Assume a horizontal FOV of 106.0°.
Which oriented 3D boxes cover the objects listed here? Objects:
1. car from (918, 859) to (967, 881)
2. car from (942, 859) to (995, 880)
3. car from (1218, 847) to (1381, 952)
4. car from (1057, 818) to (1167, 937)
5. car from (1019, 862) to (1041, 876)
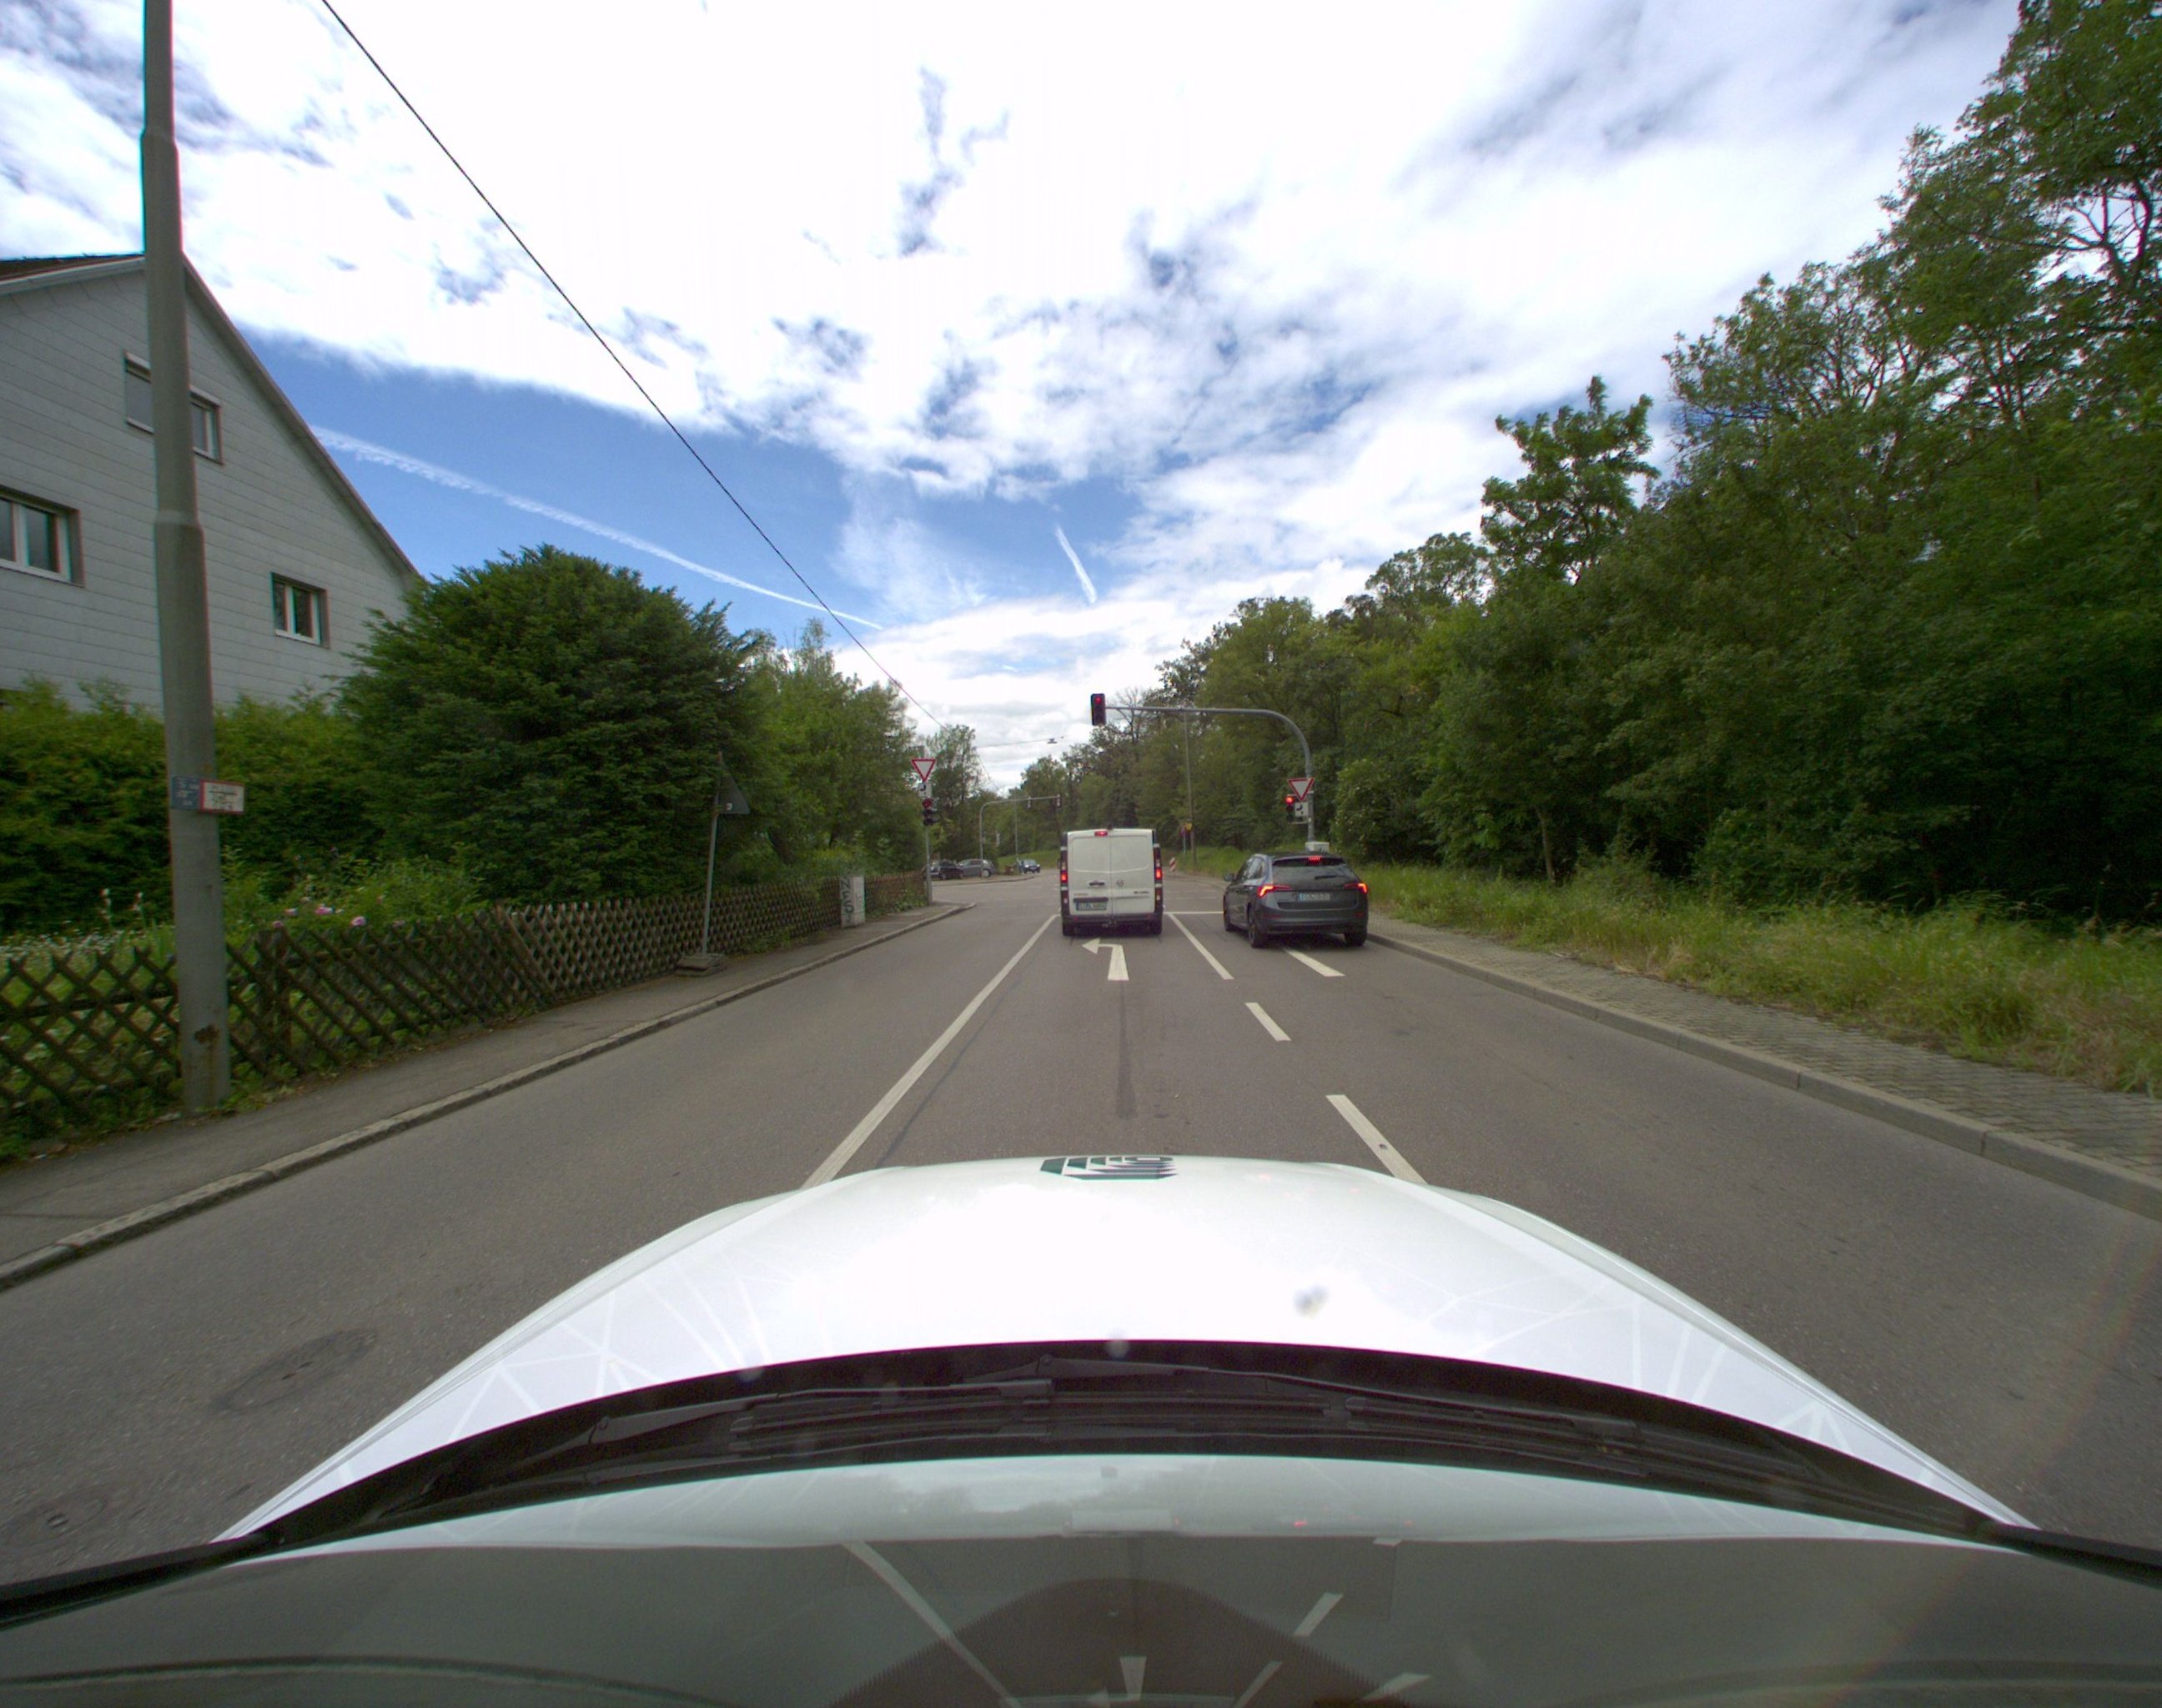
[{"bbox_3d":[-9.516,1.069,56.105,1.682,1.449,3.562,0,0,22],"label":"car"},{"bbox_3d":[-9.215,1.247,66.468,4.093,1.553,1.845,-2,0,-15],"label":"car"},{"bbox_3d":[3.475,0.655,13.694,1.785,1.450,4.003,-2,0,2],"label":"car"},{"bbox_3d":[0.543,0.405,16.517,1.910,2.053,4.613,0,0,0],"label":"car"},{"bbox_3d":[-5.981,1.756,95.050,1.860,1.507,3.979,-3,0,-15],"label":"car"}]
